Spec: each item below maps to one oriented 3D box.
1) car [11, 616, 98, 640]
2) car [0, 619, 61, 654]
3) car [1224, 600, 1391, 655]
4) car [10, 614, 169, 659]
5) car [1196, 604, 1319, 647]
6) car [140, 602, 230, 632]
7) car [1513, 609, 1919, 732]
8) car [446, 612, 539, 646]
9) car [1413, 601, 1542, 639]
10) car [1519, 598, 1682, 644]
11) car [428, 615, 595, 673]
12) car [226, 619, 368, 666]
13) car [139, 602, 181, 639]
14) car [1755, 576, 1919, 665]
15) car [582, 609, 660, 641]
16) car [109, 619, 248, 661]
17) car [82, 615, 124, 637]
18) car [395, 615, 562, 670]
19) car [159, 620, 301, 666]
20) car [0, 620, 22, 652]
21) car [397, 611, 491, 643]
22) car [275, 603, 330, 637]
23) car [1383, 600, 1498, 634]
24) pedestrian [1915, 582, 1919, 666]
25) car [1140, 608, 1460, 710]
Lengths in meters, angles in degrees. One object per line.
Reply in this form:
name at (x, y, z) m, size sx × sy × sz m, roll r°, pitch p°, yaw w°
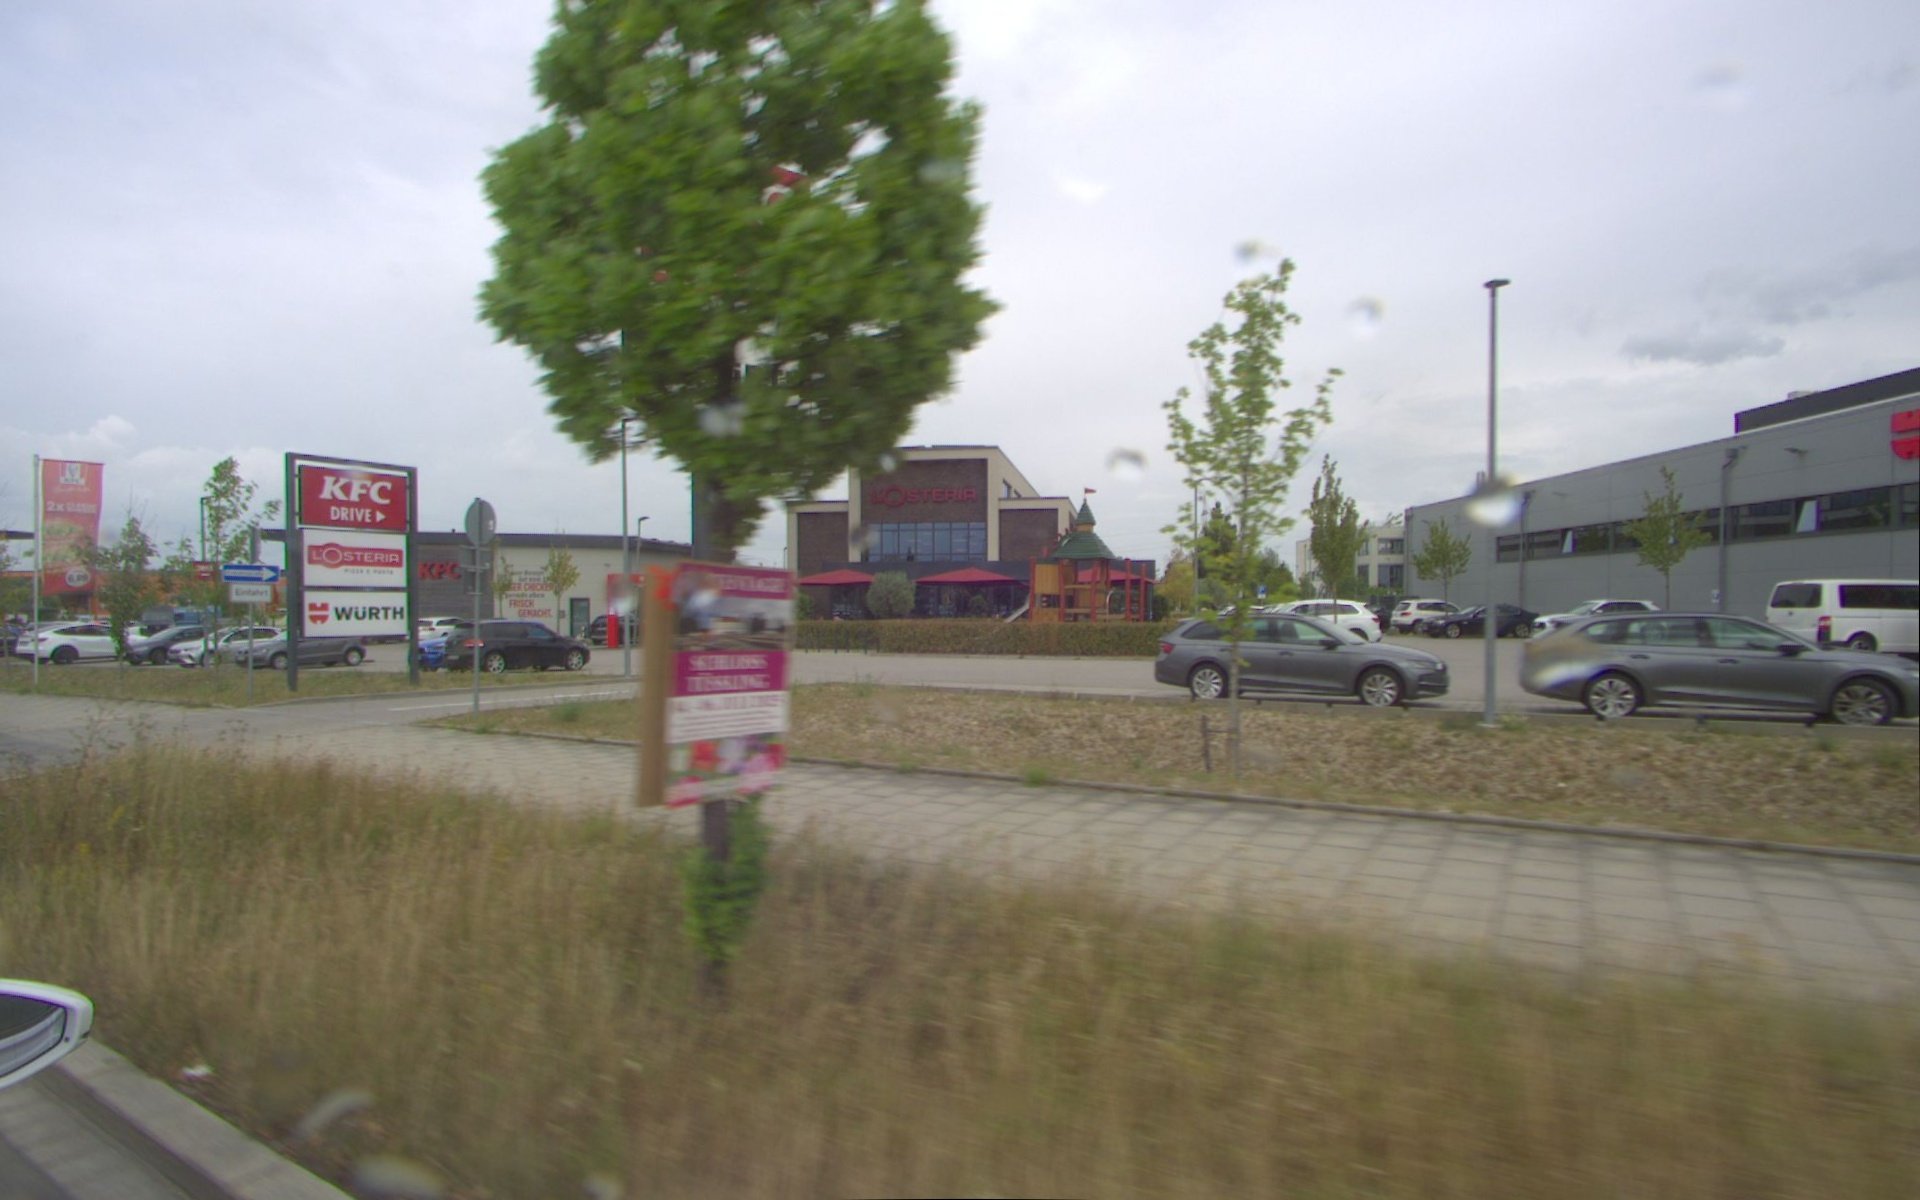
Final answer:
car at (-67.065, 2.024, 74.266) m, size 4.680 × 1.678 × 1.983 m, roll 0°, pitch 0°, yaw -40°
car at (-42.665, 1.618, 43.850) m, size 1.995 × 1.488 × 4.526 m, roll 0°, pitch 0°, yaw 16°
car at (11.072, 0.863, 32.151) m, size 4.699 × 1.720 × 2.000 m, roll 0°, pitch 0°, yaw 2°
car at (-36.085, 1.470, 41.676) m, size 2.052 × 1.667 × 4.564 m, roll 0°, pitch 1°, yaw 21°
car at (11.540, 0.986, 39.096) m, size 4.243 × 1.650 × 1.986 m, roll 0°, pitch 0°, yaw 3°
car at (-67.033, 1.426, 86.758) m, size 5.962 × 2.562 × 2.269 m, roll 0°, pitch 0°, yaw -31°
car at (10.307, 0.859, 13.657) m, size 4.804 × 1.456 × 1.862 m, roll 0°, pitch 0°, yaw 28°
car at (-23.324, 1.414, 50.152) m, size 1.940 × 1.539 × 4.573 m, roll 0°, pitch 0°, yaw 10°
car at (22.378, 0.837, 43.423) m, size 4.487 × 1.539 × 2.080 m, roll -1°, pitch 1°, yaw 0°
car at (22.867, 0.743, 35.896) m, size 4.487 × 1.539 × 2.080 m, roll -1°, pitch 1°, yaw 3°
car at (-12.783, 1.213, 28.769) m, size 1.954 × 1.513 × 3.978 m, roll 0°, pitch -1°, yaw 33°
car at (-23.171, 1.449, 35.120) m, size 1.861 × 1.513 × 3.755 m, roll 0°, pitch -1°, yaw 28°
car at (-58.054, 1.462, 72.725) m, size 2.255 × 2.535 × 7.270 m, roll 0°, pitch 0°, yaw -38°
car at (21.971, 0.483, 23.802) m, size 4.545 × 2.013 × 2.000 m, roll 0°, pitch 0°, yaw 0°
car at (-17.675, 1.290, 52.403) m, size 1.861 × 1.539 × 4.573 m, roll 0°, pitch 0°, yaw 10°
car at (-31.304, 1.567, 40.237) m, size 1.909 × 1.504 × 3.987 m, roll -1°, pitch 0°, yaw 25°
car at (-59.677, 1.781, 69.786) m, size 1.933 × 1.462 × 4.187 m, roll 0°, pitch -1°, yaw -37°
car at (-14.633, 1.235, 30.645) m, size 1.936 × 1.540 × 4.256 m, roll 0°, pitch -1°, yaw 30°
car at (-27.266, 1.547, 37.514) m, size 1.872 × 1.501 × 3.859 m, roll 0°, pitch 1°, yaw 26°
car at (-45.313, 1.659, 45.106) m, size 1.907 × 1.457 × 4.092 m, roll 0°, pitch 0°, yaw 15°
car at (-27.460, 1.421, 53.505) m, size 2.042 × 1.539 × 4.572 m, roll 0°, pitch 0°, yaw 12°
car at (-48.687, 1.427, 74.295) m, size 2.495 × 2.382 × 5.672 m, roll 0°, pitch 0°, yaw -24°
car at (22.775, 0.779, 47.631) m, size 4.487 × 1.539 × 2.080 m, roll -1°, pitch 1°, yaw 3°
pedestrian at (21.745, 0.535, 22.136) m, size 0.603 × 1.893 × 0.801 m, roll 0°, pitch 0°, yaw 15°
car at (5.579, 0.876, 16.604) m, size 4.760 × 1.479 × 1.959 m, roll 0°, pitch 0°, yaw 31°
